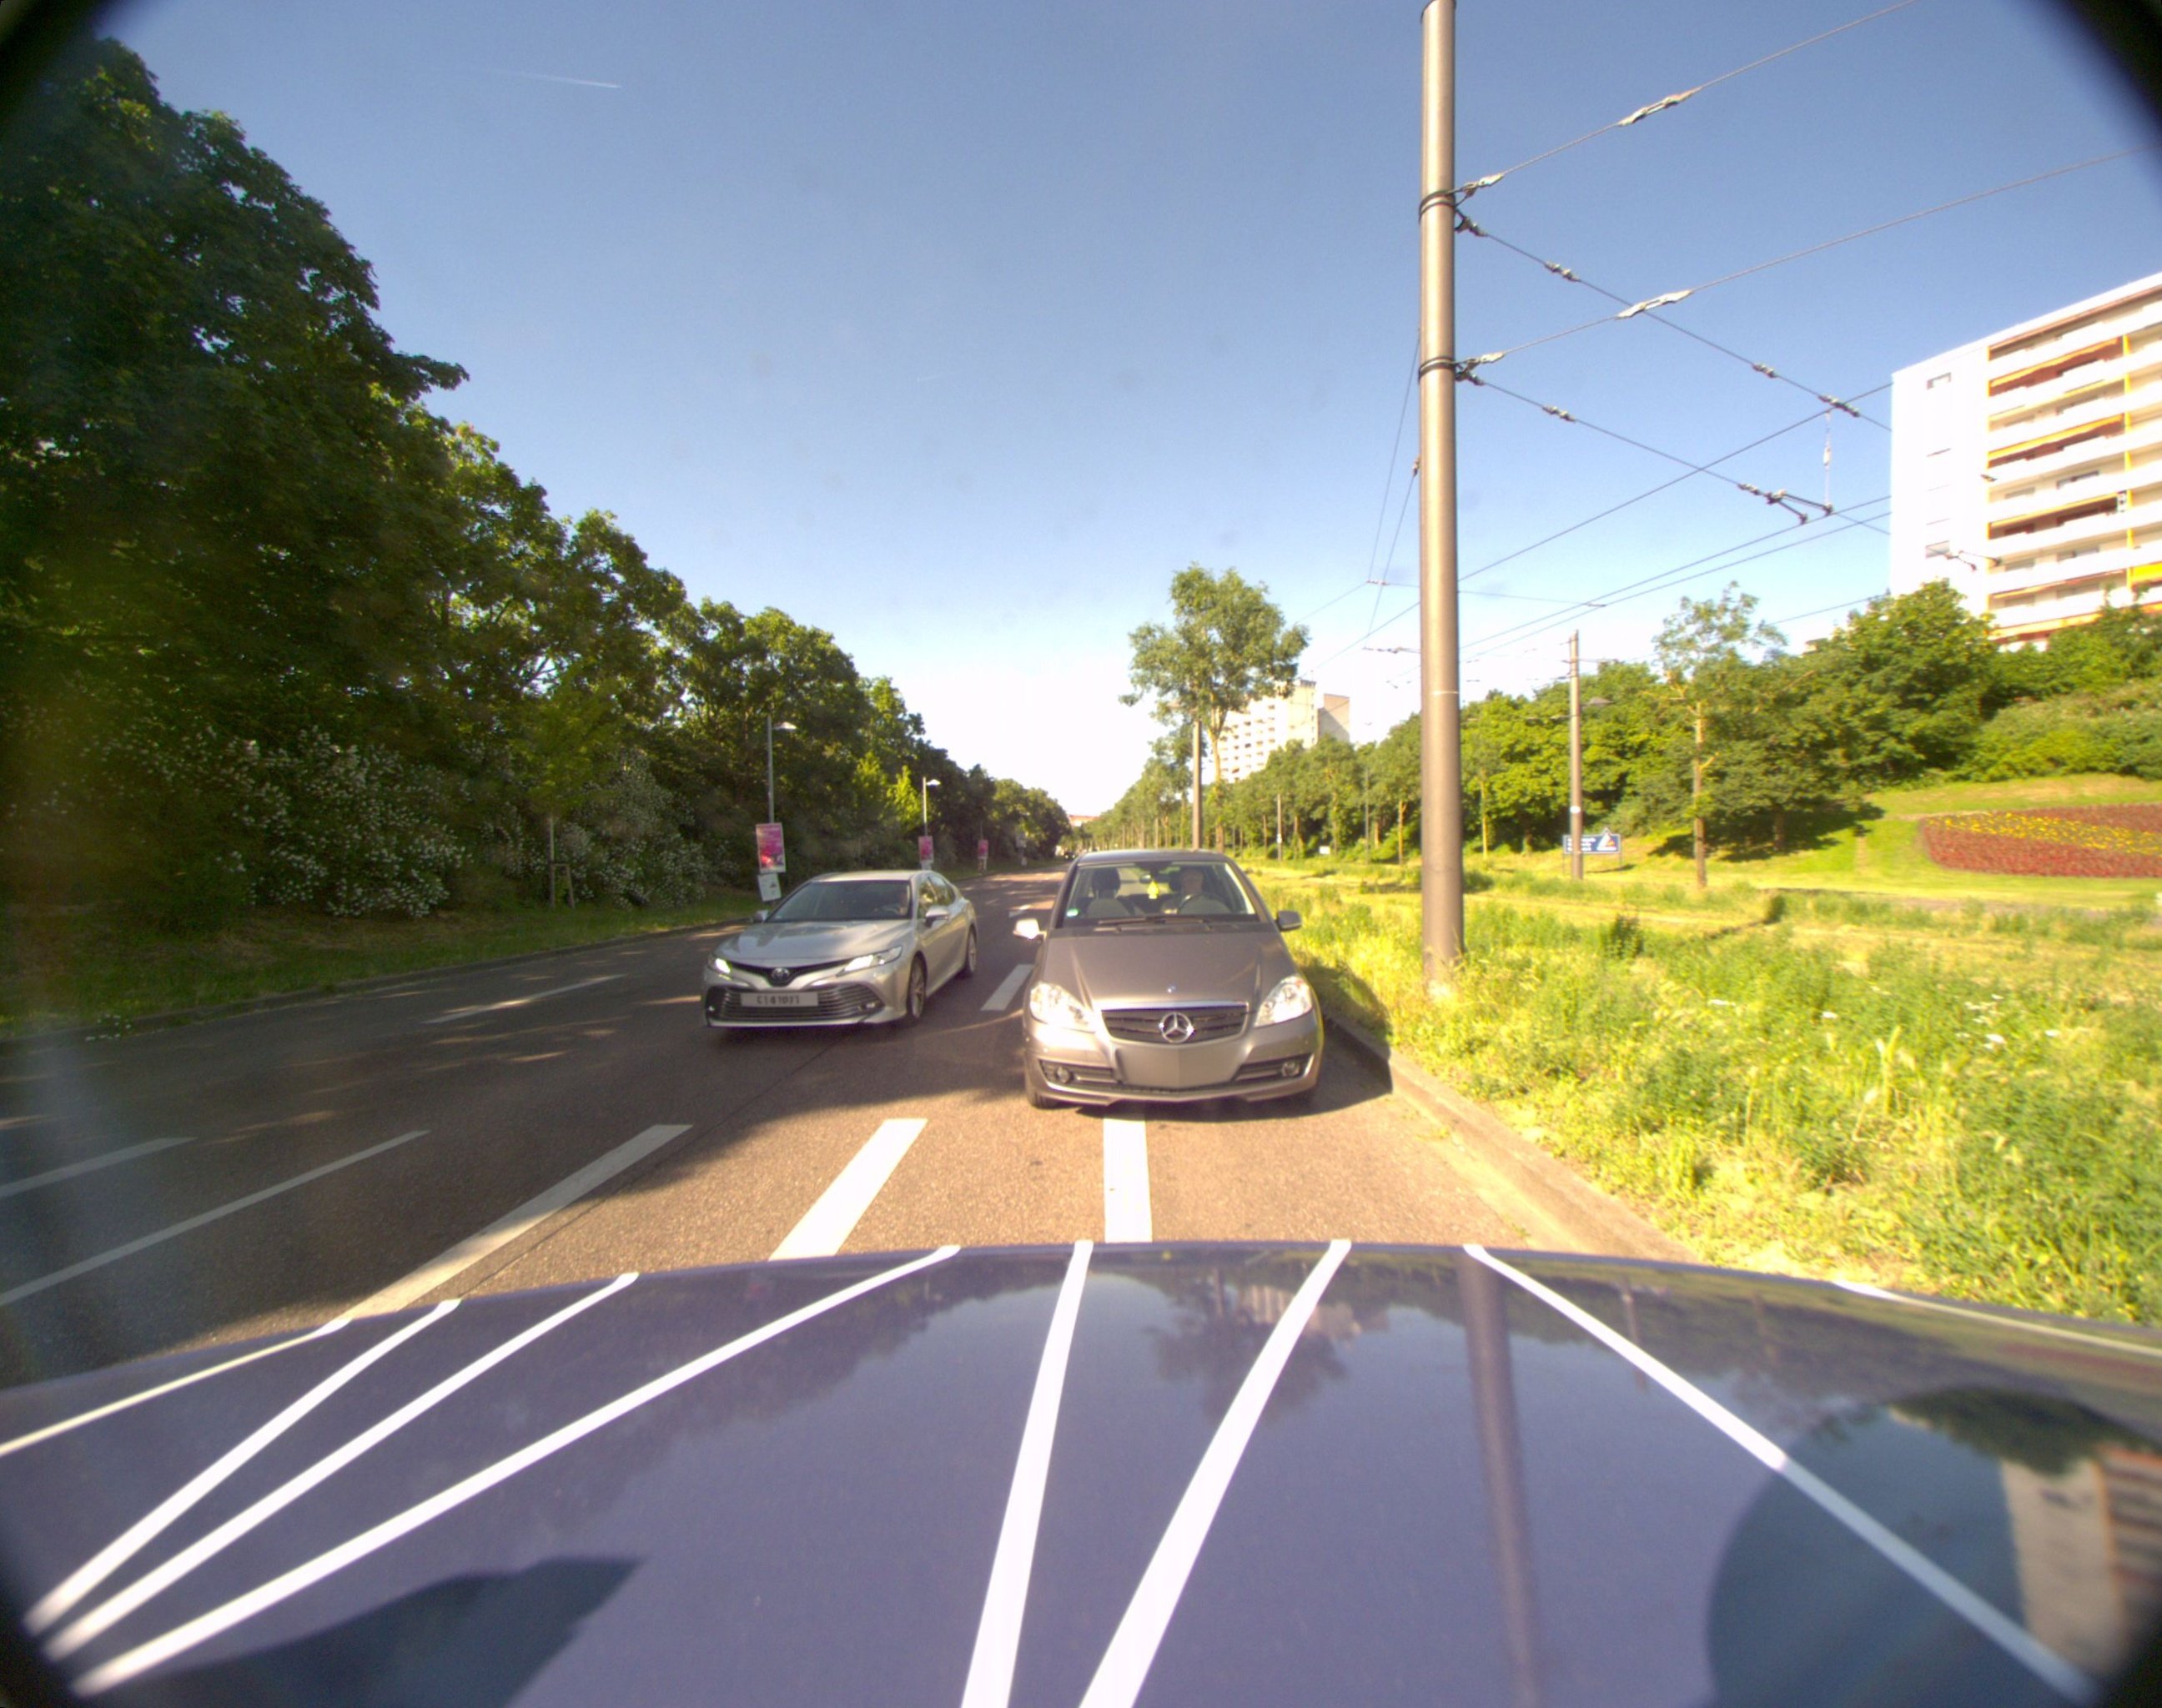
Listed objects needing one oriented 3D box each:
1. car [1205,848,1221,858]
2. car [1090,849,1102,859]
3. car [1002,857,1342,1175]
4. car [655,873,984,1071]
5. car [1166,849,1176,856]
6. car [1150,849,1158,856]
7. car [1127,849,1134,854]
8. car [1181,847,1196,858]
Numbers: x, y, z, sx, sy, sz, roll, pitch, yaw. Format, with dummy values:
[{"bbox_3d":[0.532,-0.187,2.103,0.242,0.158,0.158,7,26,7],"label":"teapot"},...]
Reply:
[{"bbox_3d":[21.913,-0.140,126.177,1.998,1.565,4.106,-1,0,1],"label":"car"},{"bbox_3d":[2.634,-0.030,131.866,1.998,1.702,4.000,-1,0,1],"label":"car"},{"bbox_3d":[0.502,0.858,5.913,1.759,1.612,3.880,-1,0,1],"label":"car"},{"bbox_3d":[-2.385,1.005,8.358,1.875,1.428,4.594,-1,0,2],"label":"car"},{"bbox_3d":[19.481,-0.347,164.254,1.780,1.368,4.001,-1,0,3],"label":"car"},{"bbox_3d":[17.687,-0.363,185.207,1.792,1.499,4.241,-1,0,3],"label":"car"},{"bbox_3d":[12.864,-0.647,195.992,1.798,1.408,4.311,-1,0,4],"label":"car"},{"bbox_3d":[20.299,-0.339,143.589,1.998,1.955,4.907,-1,0,1],"label":"car"}]
